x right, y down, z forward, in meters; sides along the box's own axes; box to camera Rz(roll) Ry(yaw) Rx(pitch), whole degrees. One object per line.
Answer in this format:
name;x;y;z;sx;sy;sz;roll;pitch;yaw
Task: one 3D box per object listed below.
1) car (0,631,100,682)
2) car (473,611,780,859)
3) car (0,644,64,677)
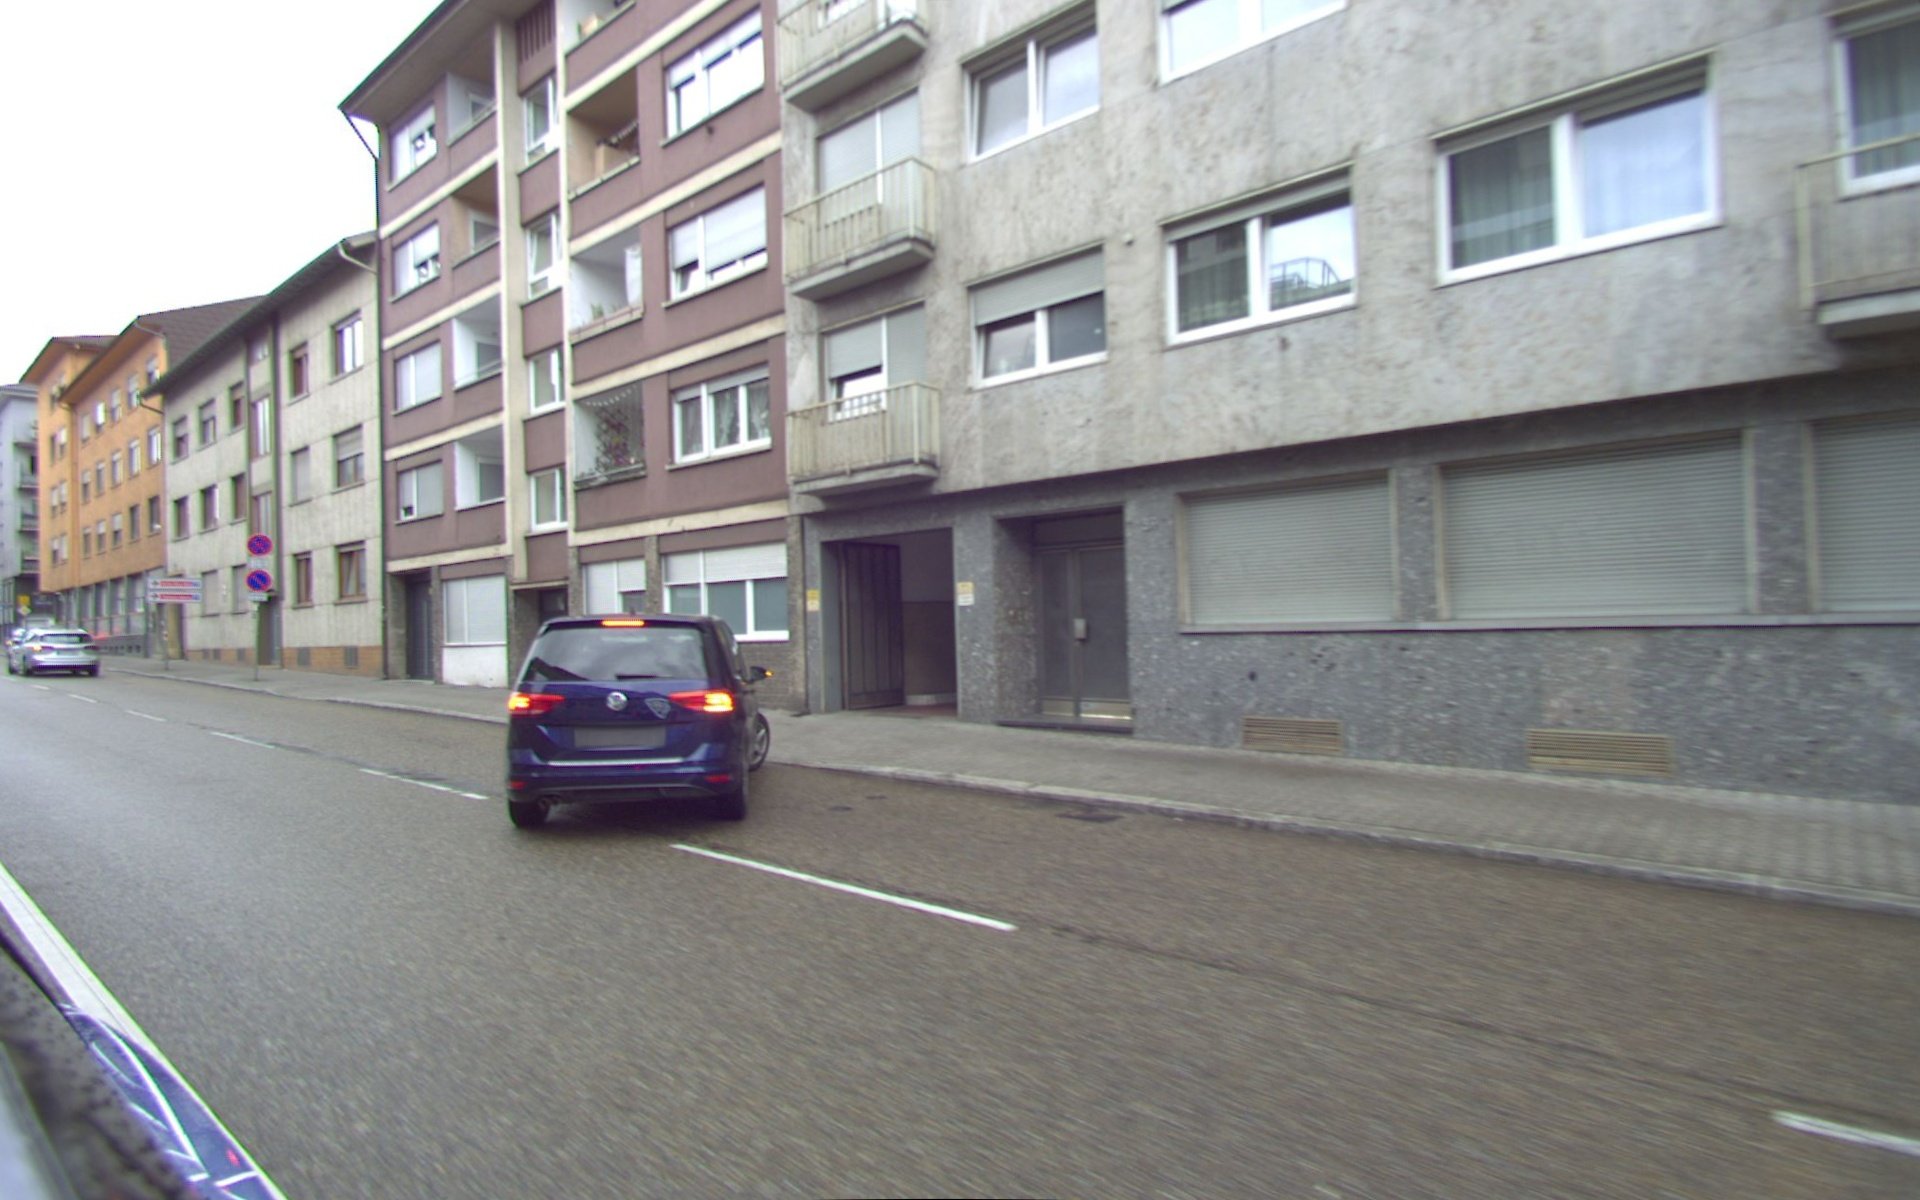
car;-28.397;1.741;31.558;4.069;1.472;1.710;-1;-4;40
car;-2.712;0.925;8.958;1.967;1.587;4.319;-1;-1;-13
car;-45.184;2.918;49.280;3.800;1.466;1.687;-1;0;38
